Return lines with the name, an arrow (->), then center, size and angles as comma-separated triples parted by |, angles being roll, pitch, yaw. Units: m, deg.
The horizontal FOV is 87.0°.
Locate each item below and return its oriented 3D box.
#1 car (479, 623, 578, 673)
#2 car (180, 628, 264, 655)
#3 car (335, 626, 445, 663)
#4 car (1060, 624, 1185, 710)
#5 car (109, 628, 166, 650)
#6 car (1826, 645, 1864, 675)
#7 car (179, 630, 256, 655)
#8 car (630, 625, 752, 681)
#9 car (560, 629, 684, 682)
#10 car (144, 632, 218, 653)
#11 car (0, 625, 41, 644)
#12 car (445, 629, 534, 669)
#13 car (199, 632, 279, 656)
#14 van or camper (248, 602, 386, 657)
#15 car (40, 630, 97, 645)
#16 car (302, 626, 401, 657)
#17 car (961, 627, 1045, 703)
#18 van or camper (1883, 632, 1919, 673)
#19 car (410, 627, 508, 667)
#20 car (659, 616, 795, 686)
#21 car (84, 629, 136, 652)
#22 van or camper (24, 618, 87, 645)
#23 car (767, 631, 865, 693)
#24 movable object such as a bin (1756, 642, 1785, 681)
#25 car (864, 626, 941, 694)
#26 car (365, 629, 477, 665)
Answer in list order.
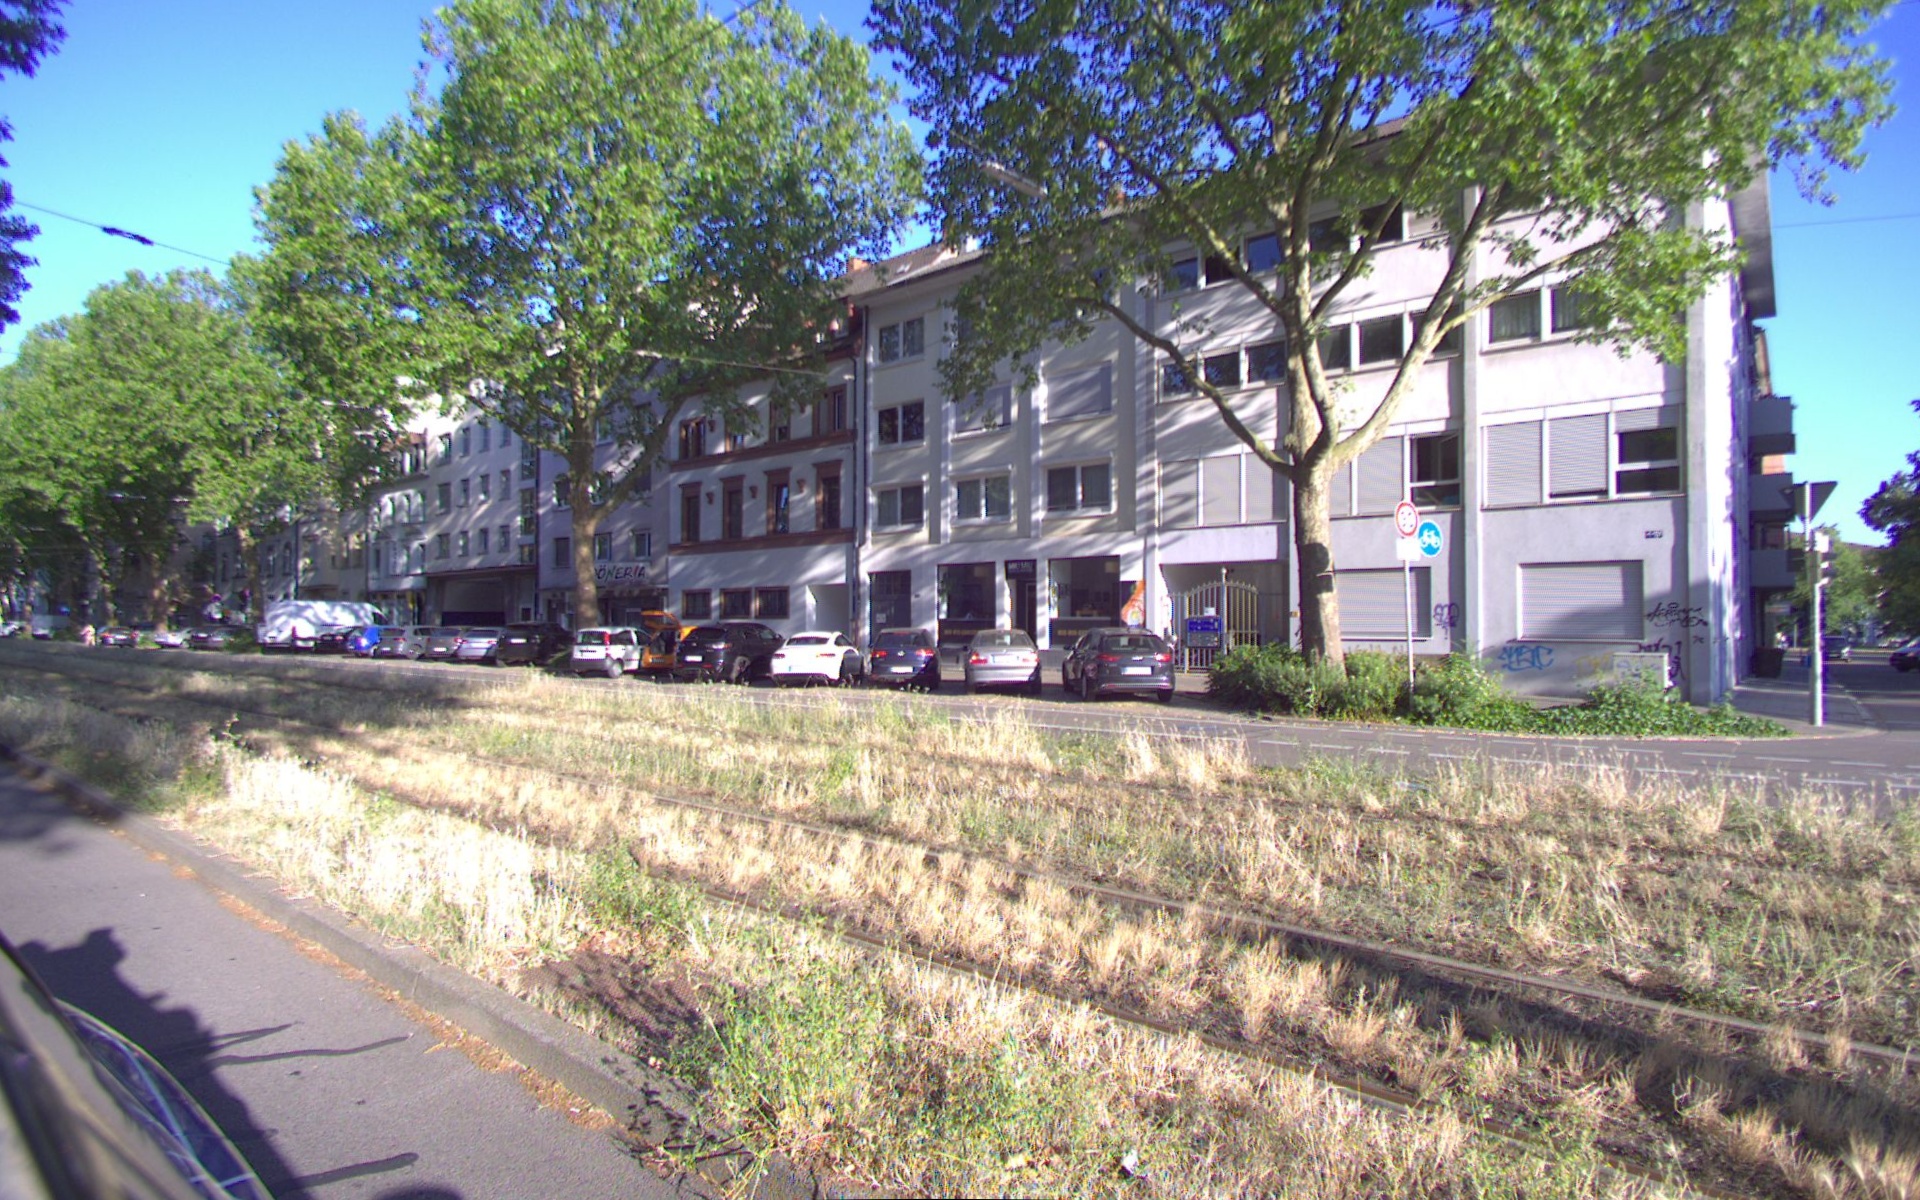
car -> -15.681, 1.699, 37.020 | 1.972, 1.673, 4.000 | -1, -1, -1
car -> -45.530, 2.588, 62.549 | 1.912, 1.605, 4.155 | 0, -4, 4
car -> -25.945, 1.994, 46.179 | 1.854, 1.431, 3.951 | -1, 0, 36
car -> 3.296, 1.327, 21.292 | 1.791, 1.490, 4.002 | -1, 0, -2
car -> -63.511, 3.012, 78.208 | 1.703, 1.666, 4.008 | 0, -2, -10
car -> 63.359, 4.254, 72.472 | 1.999, 2.029, 3.945 | -1, -2, 41
car -> -47.730, 2.764, 65.177 | 1.803, 1.545, 3.994 | 0, -3, 4
car -> -8.360, 1.609, 31.797 | 1.764, 1.490, 3.974 | -1, 0, 20
car -> -10.462, 1.677, 31.698 | 1.643, 1.460, 4.345 | 0, -1, 14
car -> -51.787, 2.807, 67.343 | 1.806, 1.400, 3.670 | 0, -2, 9
car -> -107.384, 3.951, 115.155 | 1.971, 2.029, 4.002 | -1, 0, -2
car -> -18.299, 1.870, 39.584 | 1.883, 1.396, 4.004 | -1, -1, -5
car -> -43.002, 2.618, 60.448 | 1.778, 1.368, 4.002 | 0, -3, 3
van or camper -> -33.111, 1.540, 52.371 | 2.162, 2.666, 5.929 | -1, -2, 19
car -> -86.019, 3.599, 97.690 | 1.709, 1.256, 3.993 | -1, 1, 6
car -> -30.745, 2.092, 51.260 | 1.984, 1.502, 3.975 | -1, -2, 18
car -> 0.901, 1.413, 23.281 | 1.698, 1.452, 4.000 | -1, 0, -1
van or camper -> 49.974, 2.637, 50.747 | 5.083, 2.029, 1.992 | 0, -2, 13
car -> -20.538, 1.887, 41.672 | 1.735, 1.433, 3.993 | -1, 0, 6
car -> -6.459, 1.451, 28.609 | 1.975, 1.800, 4.343 | 1, -3, 14
car -> -56.624, 2.691, 67.378 | 4.480, 1.400, 1.802 | -1, -4, 40
van or camper -> -88.325, 3.063, 98.893 | 2.171, 2.418, 4.364 | -1, 1, 0
car -> -3.693, 1.563, 26.691 | 1.700, 1.343, 4.200 | -1, 0, 4
movable object such as a bin -> 27.826, 2.093, 34.746 | 0.745, 1.315, 0.861 | -1, -2, 39
car -> -1.440, 1.450, 25.686 | 1.776, 1.452, 4.002 | -1, 0, -3
car -> -23.602, 2.044, 44.436 | 1.941, 1.503, 3.964 | -1, -2, 27
